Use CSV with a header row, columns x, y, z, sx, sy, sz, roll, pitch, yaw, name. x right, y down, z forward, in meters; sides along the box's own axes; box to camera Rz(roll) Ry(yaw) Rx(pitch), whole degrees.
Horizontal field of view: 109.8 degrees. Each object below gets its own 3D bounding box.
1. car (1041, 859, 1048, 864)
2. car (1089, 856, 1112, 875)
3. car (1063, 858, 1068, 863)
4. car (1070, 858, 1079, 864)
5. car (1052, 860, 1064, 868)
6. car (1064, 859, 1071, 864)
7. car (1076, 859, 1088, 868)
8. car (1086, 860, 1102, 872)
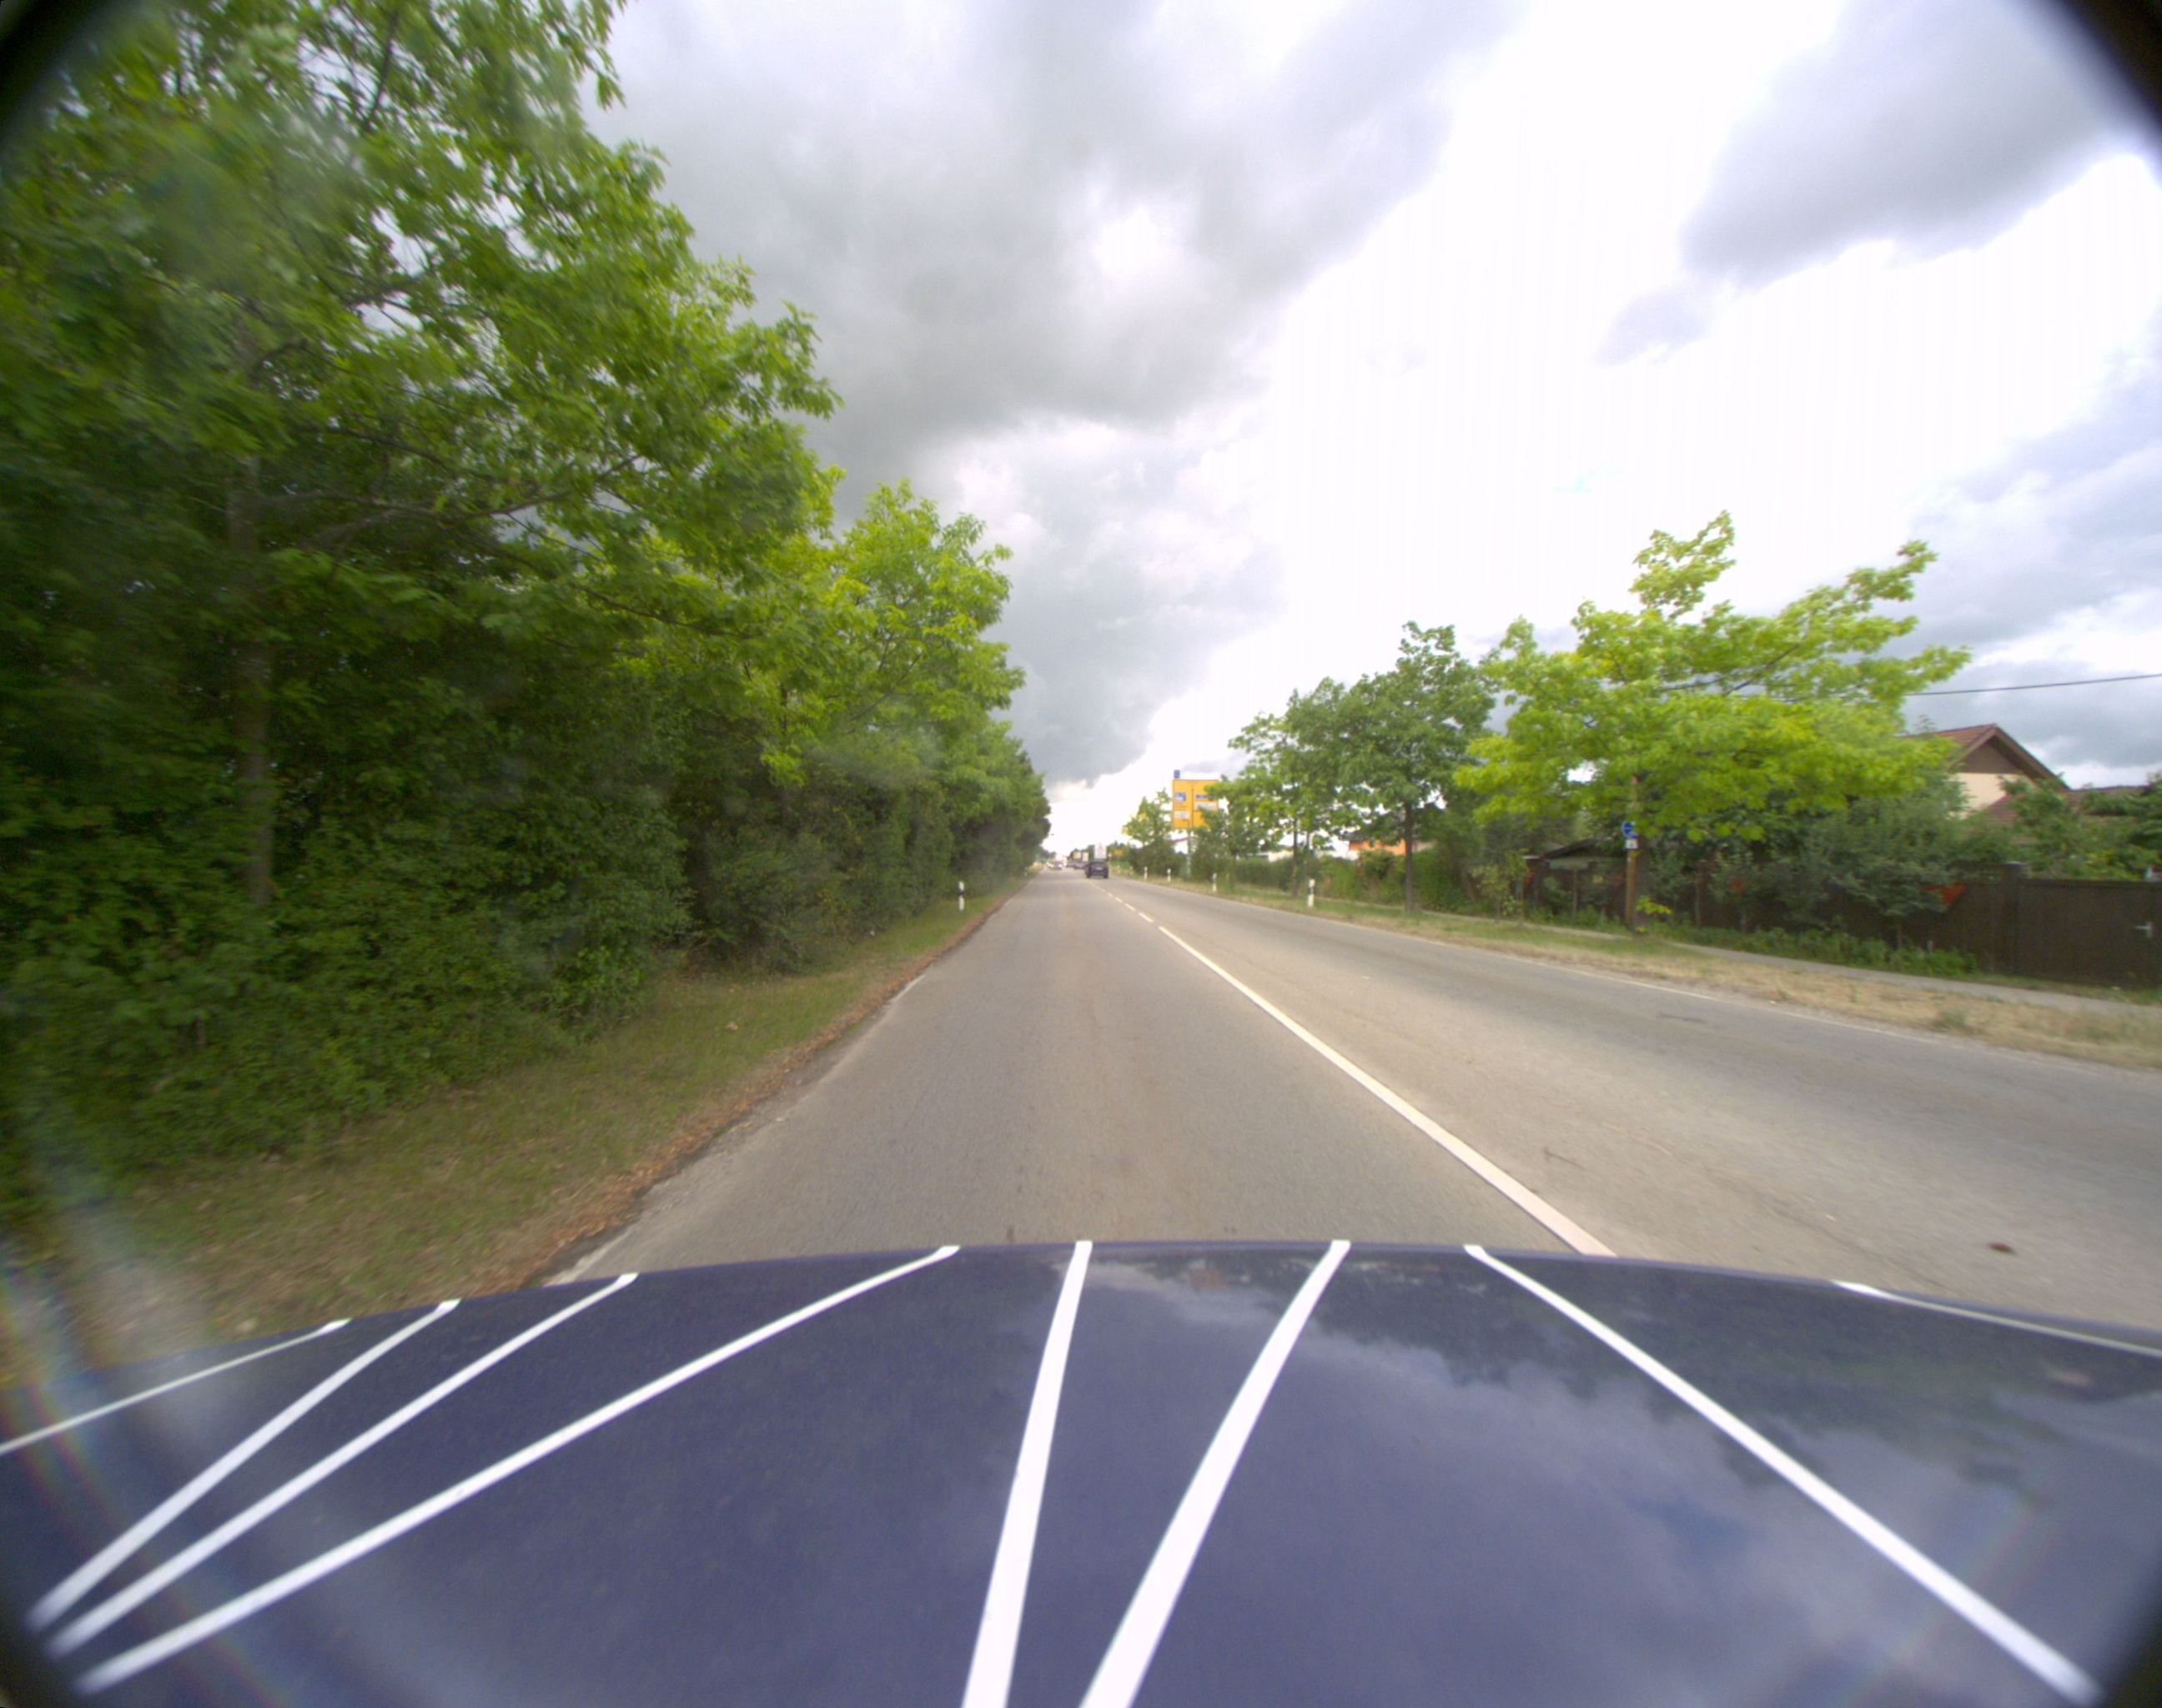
x,y,z,sx,sy,sz,roll,pitch,yaw,name
-10.664,2.074,223.204,1.778,1.407,4.079,2,0,-2,car
1.680,0.987,66.895,1.738,1.525,4.094,2,0,-2,car
-5.115,2.048,252.036,1.734,1.577,4.503,1,0,-2,car
-1.482,1.553,173.594,1.857,1.456,4.369,1,0,-3,car
-3.724,1.626,123.777,1.869,1.352,3.826,1,0,-2,car
-3.671,2.016,200.629,1.778,1.365,4.099,2,0,-2,car
0.090,1.555,129.287,1.821,1.485,4.203,2,0,-2,car
1.500,1.383,88.520,1.681,1.403,4.012,2,0,-1,car
